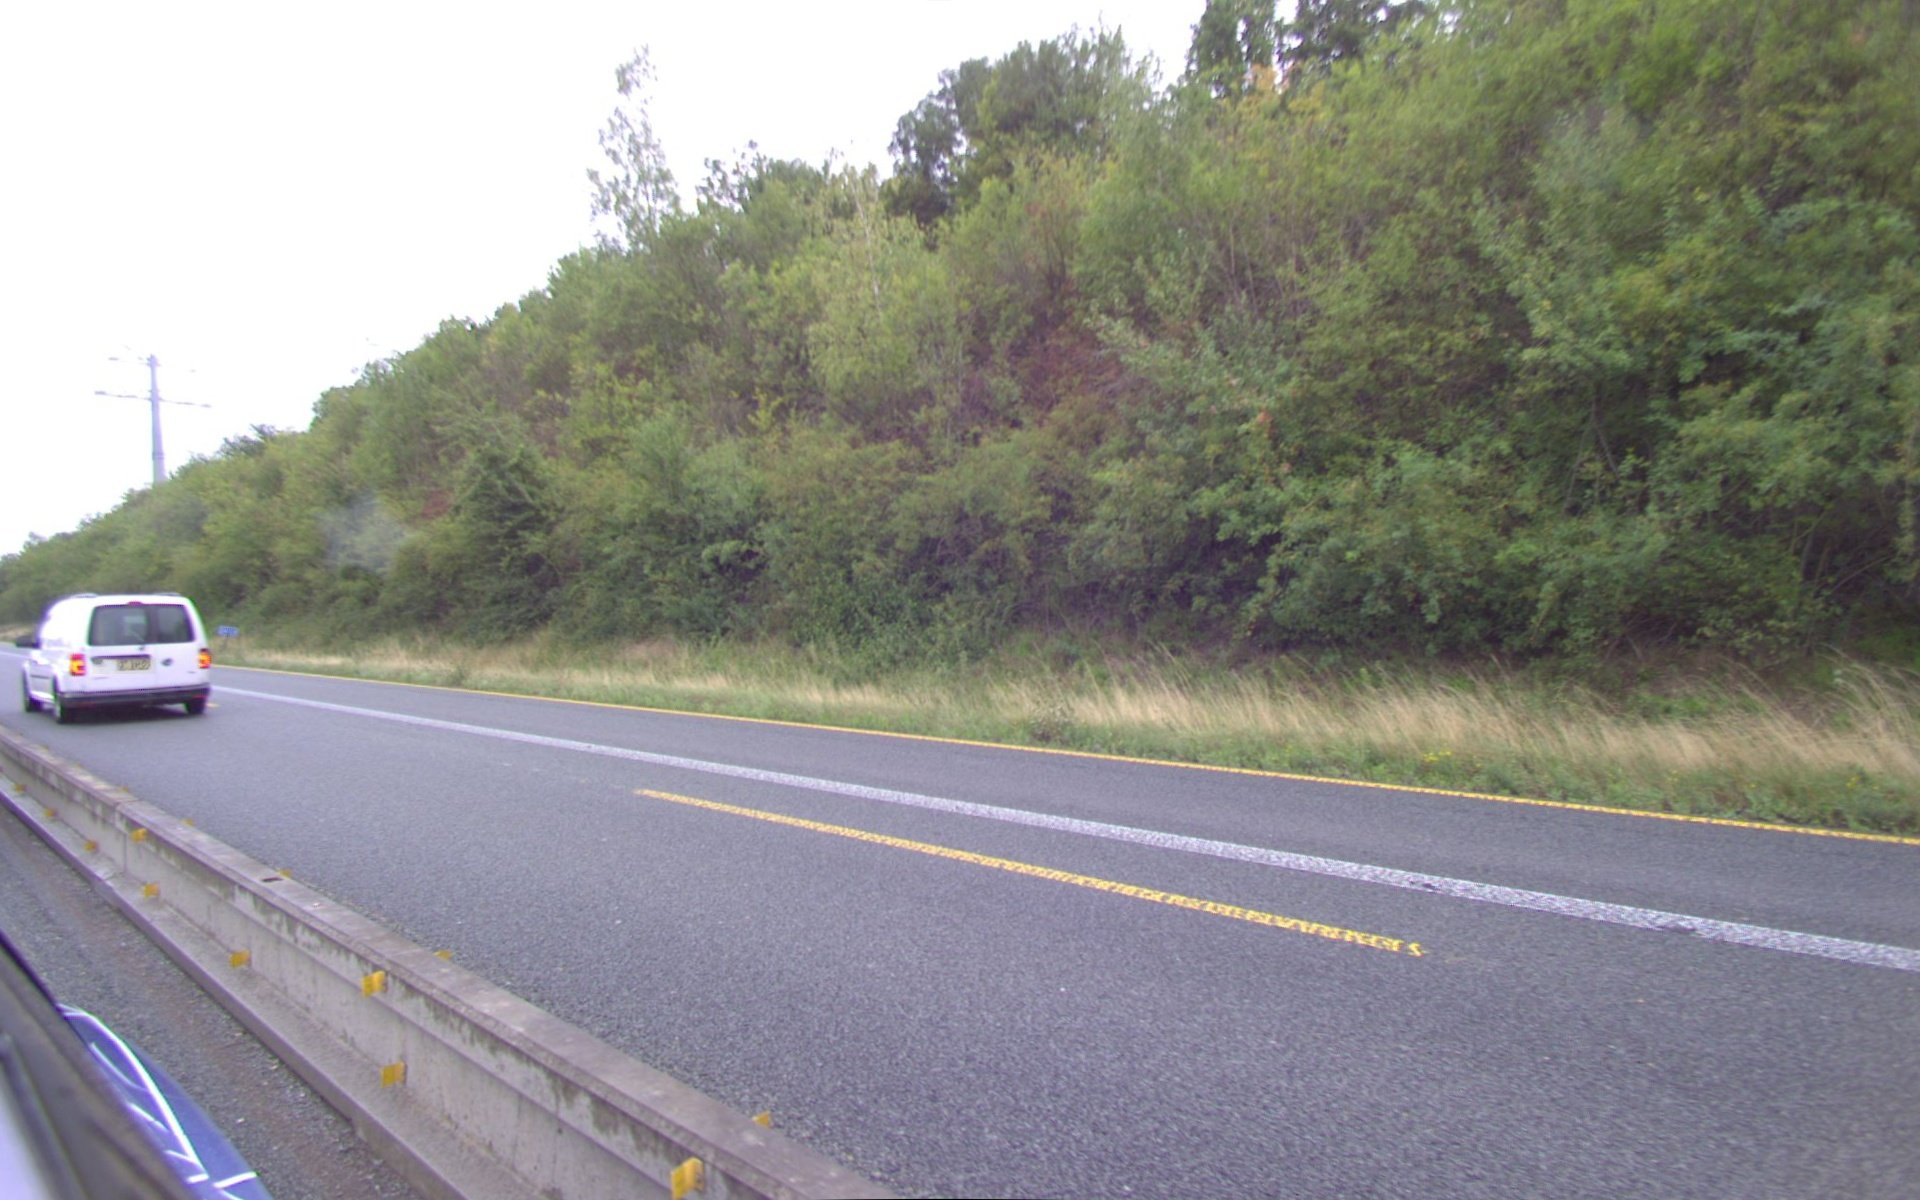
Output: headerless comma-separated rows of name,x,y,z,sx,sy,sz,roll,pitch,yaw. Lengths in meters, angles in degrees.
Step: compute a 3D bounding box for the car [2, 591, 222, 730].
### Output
car,-13.103,0.819,15.531,4.631,1.837,1.792,-1,0,40
